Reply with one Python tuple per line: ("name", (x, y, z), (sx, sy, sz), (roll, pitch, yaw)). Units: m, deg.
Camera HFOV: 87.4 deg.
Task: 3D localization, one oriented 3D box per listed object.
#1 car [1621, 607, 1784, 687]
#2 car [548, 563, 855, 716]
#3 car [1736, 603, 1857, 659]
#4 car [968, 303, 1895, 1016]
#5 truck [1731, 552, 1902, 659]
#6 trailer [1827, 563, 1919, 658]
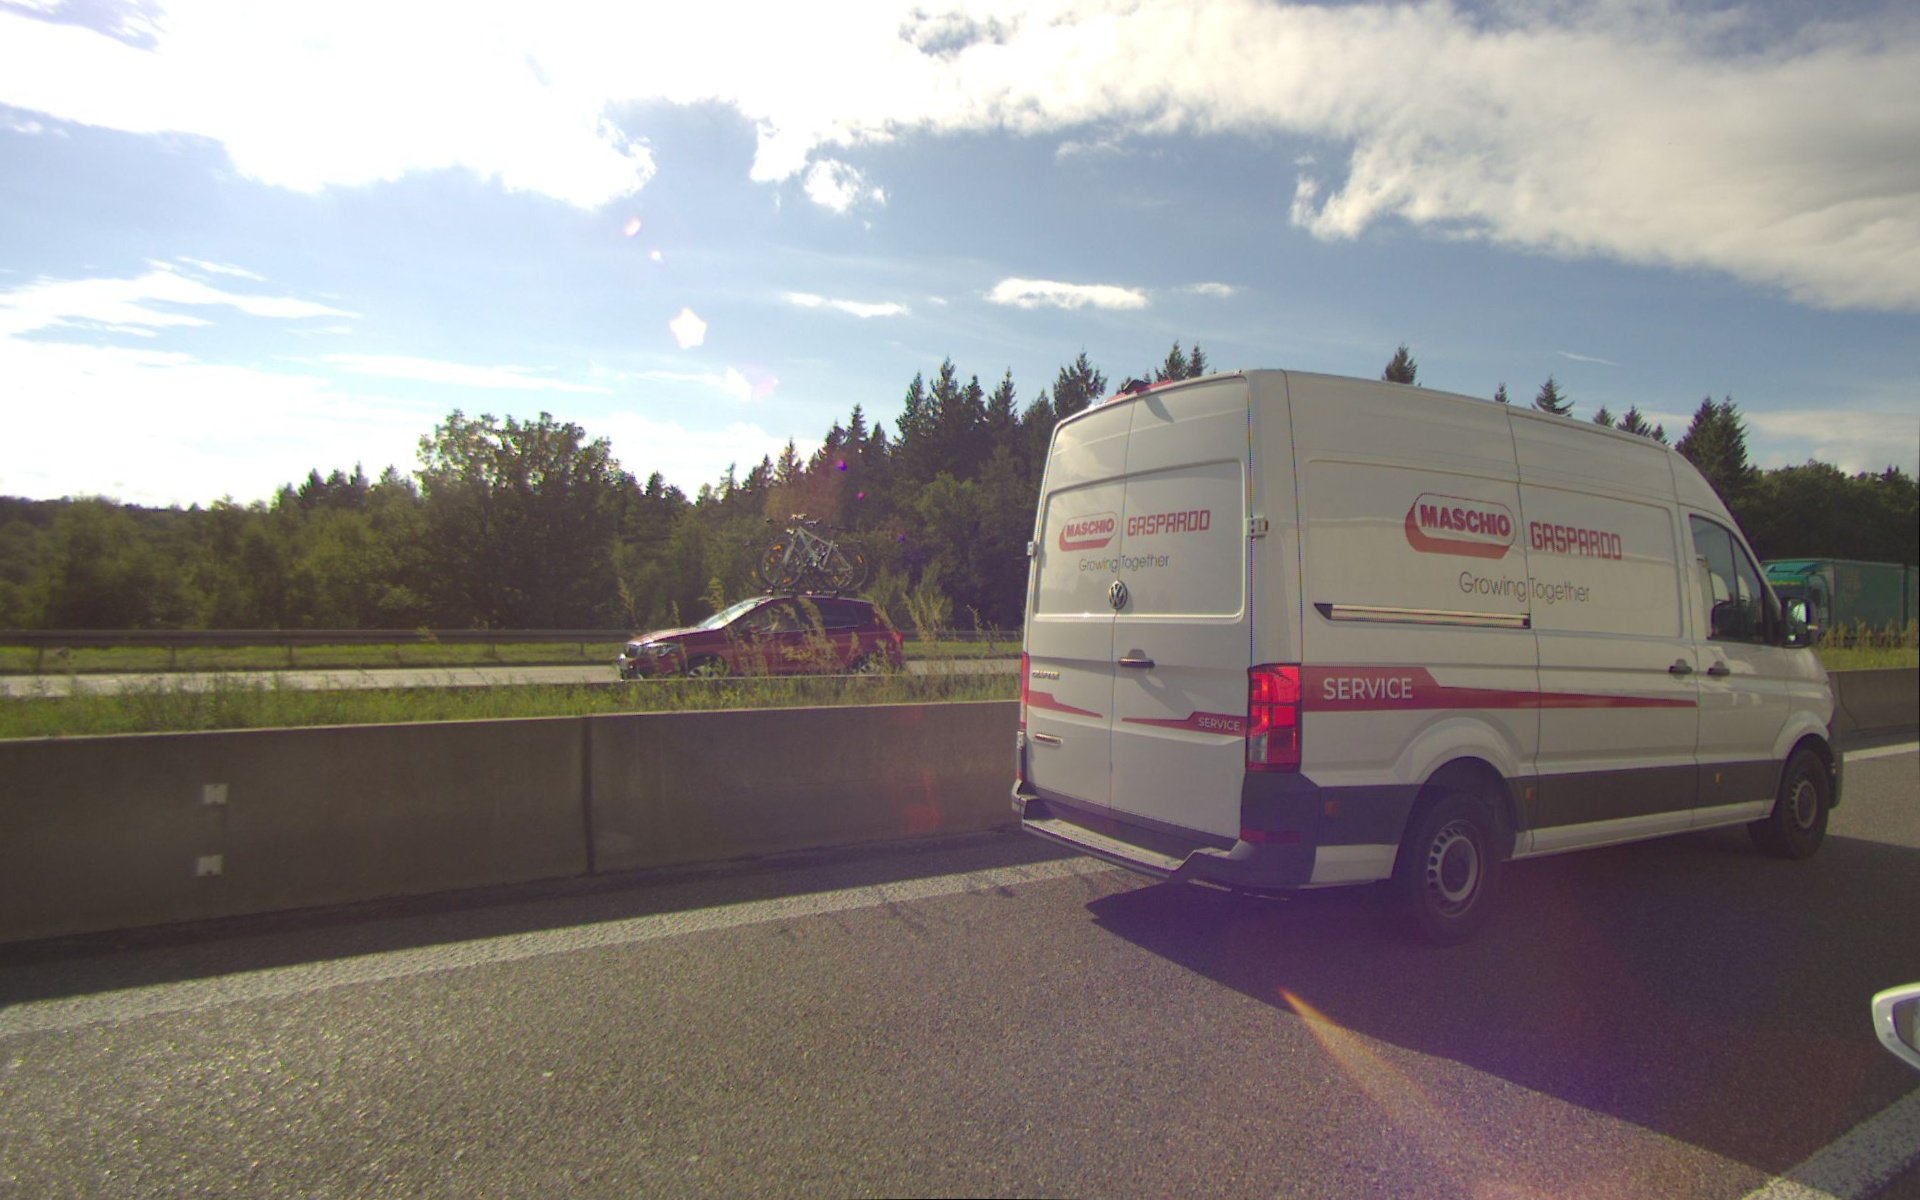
("car", (17.444, 1.085, 23.579), (3.722, 1.646, 1.662), (2, 3, -30))
("car", (-3.709, 0.534, 14.537), (3.953, 1.907, 1.751), (2, 3, -30))
("car", (27.066, 1.003, 32.504), (3.764, 1.706, 1.820), (1, 0, -30))
("car", (3.179, 0.261, 6.122), (6.108, 2.633, 2.006), (1, 0, -30))
("truck", (37.860, 0.368, 44.245), (10.227, 4.300, 2.697), (2, -1, -31))
("trailer", (45.822, 0.578, 49.129), (8.455, 4.300, 2.711), (2, -1, -31))
